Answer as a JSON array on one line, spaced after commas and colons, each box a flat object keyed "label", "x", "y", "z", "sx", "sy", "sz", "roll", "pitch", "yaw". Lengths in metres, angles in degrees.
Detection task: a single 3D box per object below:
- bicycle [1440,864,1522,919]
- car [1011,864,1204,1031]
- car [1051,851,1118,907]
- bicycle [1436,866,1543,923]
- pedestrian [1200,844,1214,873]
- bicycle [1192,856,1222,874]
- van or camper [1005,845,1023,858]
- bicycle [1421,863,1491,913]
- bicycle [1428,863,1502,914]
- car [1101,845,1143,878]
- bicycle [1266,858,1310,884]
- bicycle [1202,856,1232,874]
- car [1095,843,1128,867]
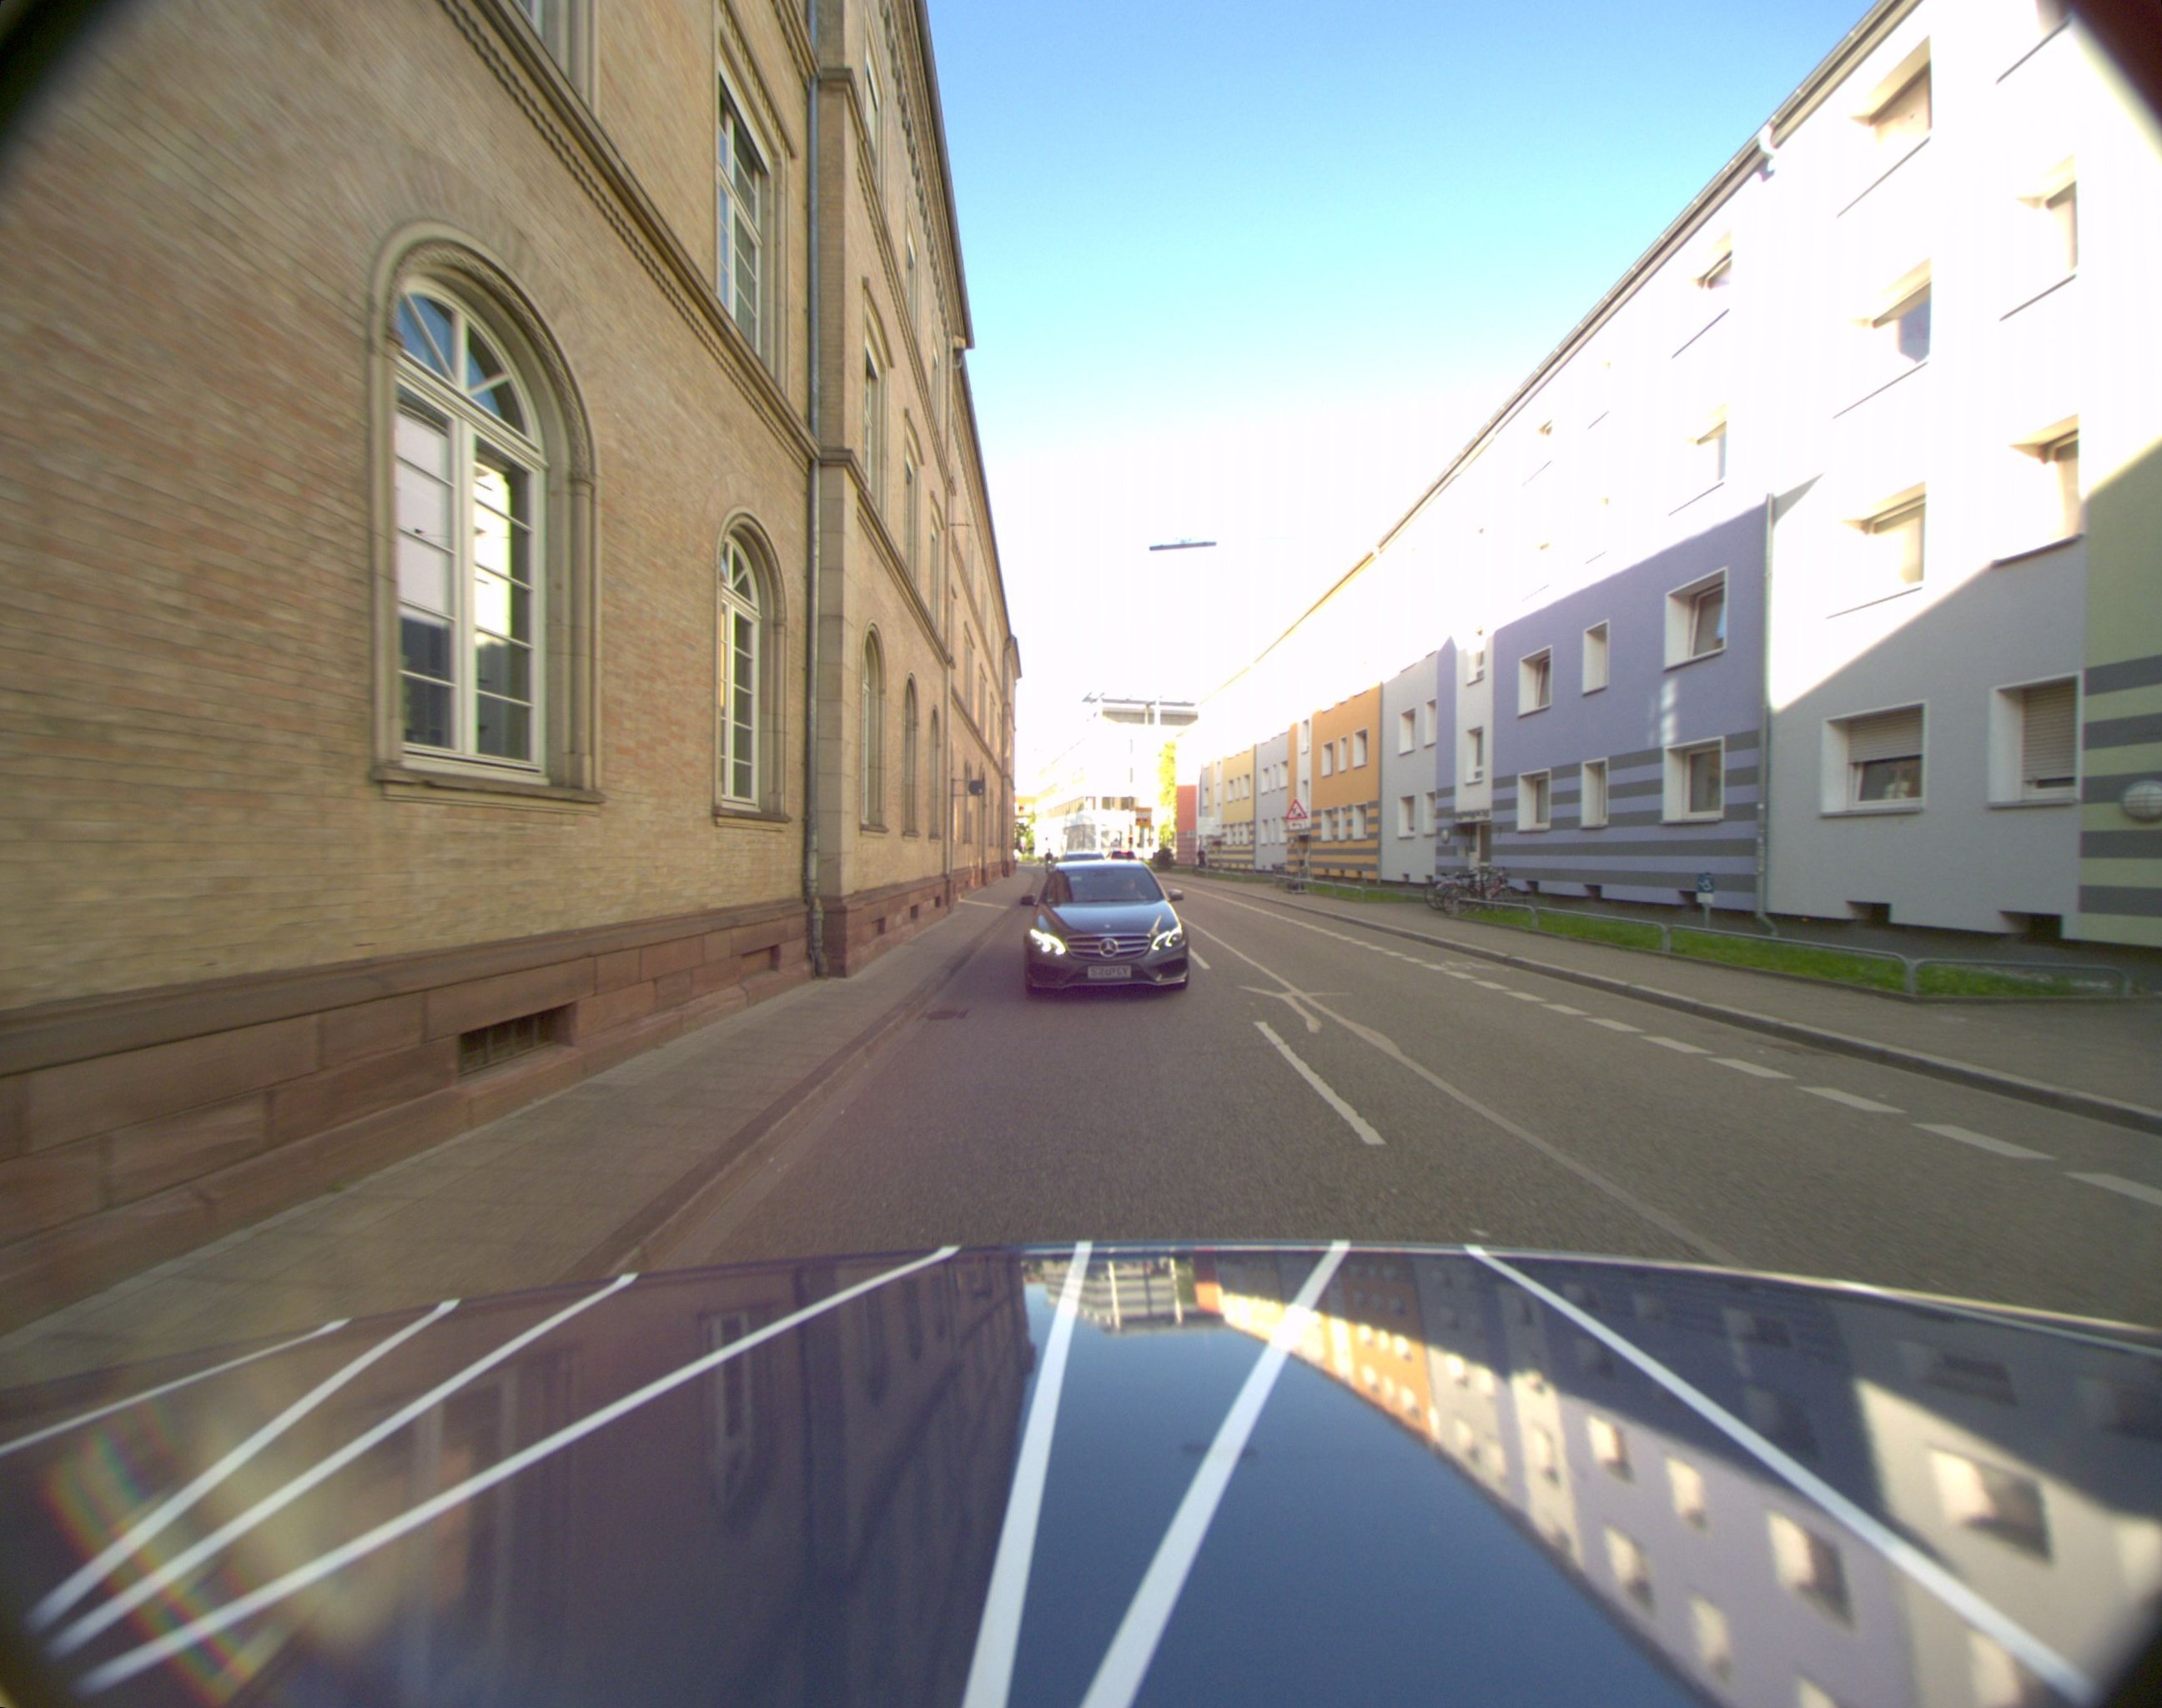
[{"label": "bicycle", "x": 9.163, "y": 0.850, "z": 17.417, "sx": 1.643, "sy": 1.234, "sz": 0.467, "roll": 0, "pitch": 1, "yaw": -3}, {"label": "car", "x": 0.282, "y": 0.918, "z": 9.561, "sx": 1.798, "sy": 1.460, "sz": 4.719, "roll": -1, "pitch": 0, "yaw": 1}, {"label": "car", "x": 0.024, "y": 0.694, "z": 23.727, "sx": 1.748, "sy": 1.594, "sz": 3.998, "roll": 0, "pitch": 0, "yaw": -5}, {"label": "bicycle", "x": 8.956, "y": 0.874, "z": 16.695, "sx": 2.014, "sy": 1.224, "sz": 0.623, "roll": 0, "pitch": 1, "yaw": -3}, {"label": "pedestrian", "x": 8.196, "y": 0.296, "z": 49.332, "sx": 0.720, "sy": 1.844, "sz": 0.871, "roll": 0, "pitch": 1, "yaw": 19}, {"label": "bicycle", "x": 8.104, "y": 0.683, "z": 48.976, "sx": 1.757, "sy": 1.139, "sz": 0.650, "roll": 0, "pitch": 1, "yaw": -10}, {"label": "van or camper", "x": -10.296, "y": -0.363, "z": 116.309, "sx": 2.163, "sy": 2.002, "sz": 4.970, "roll": 0, "pitch": 1, "yaw": -13}, {"label": "bicycle", "x": 9.413, "y": 0.858, "z": 19.092, "sx": 1.584, "sy": 1.234, "sz": 0.384, "roll": 0, "pitch": 1, "yaw": -3}, {"label": "bicycle", "x": 9.427, "y": 0.838, "z": 18.674, "sx": 1.589, "sy": 1.234, "sz": 0.449, "roll": 0, "pitch": 1, "yaw": -3}, {"label": "car", "x": 2.383, "y": 0.398, "z": 45.457, "sx": 1.905, "sy": 1.824, "sz": 5.092, "roll": 2, "pitch": 0, "yaw": -3}, {"label": "bicycle", "x": 9.130, "y": 0.750, "z": 33.467, "sx": 1.757, "sy": 1.139, "sz": 0.650, "roll": 0, "pitch": 1, "yaw": -10}, {"label": "bicycle", "x": 8.516, "y": 0.687, "z": 47.620, "sx": 1.757, "sy": 1.139, "sz": 0.650, "roll": 0, "pitch": 1, "yaw": -10}, {"label": "car", "x": 2.055, "y": 0.062, "z": 51.914, "sx": 1.746, "sy": 1.477, "sz": 4.134, "roll": 2, "pitch": 0, "yaw": -4}]
